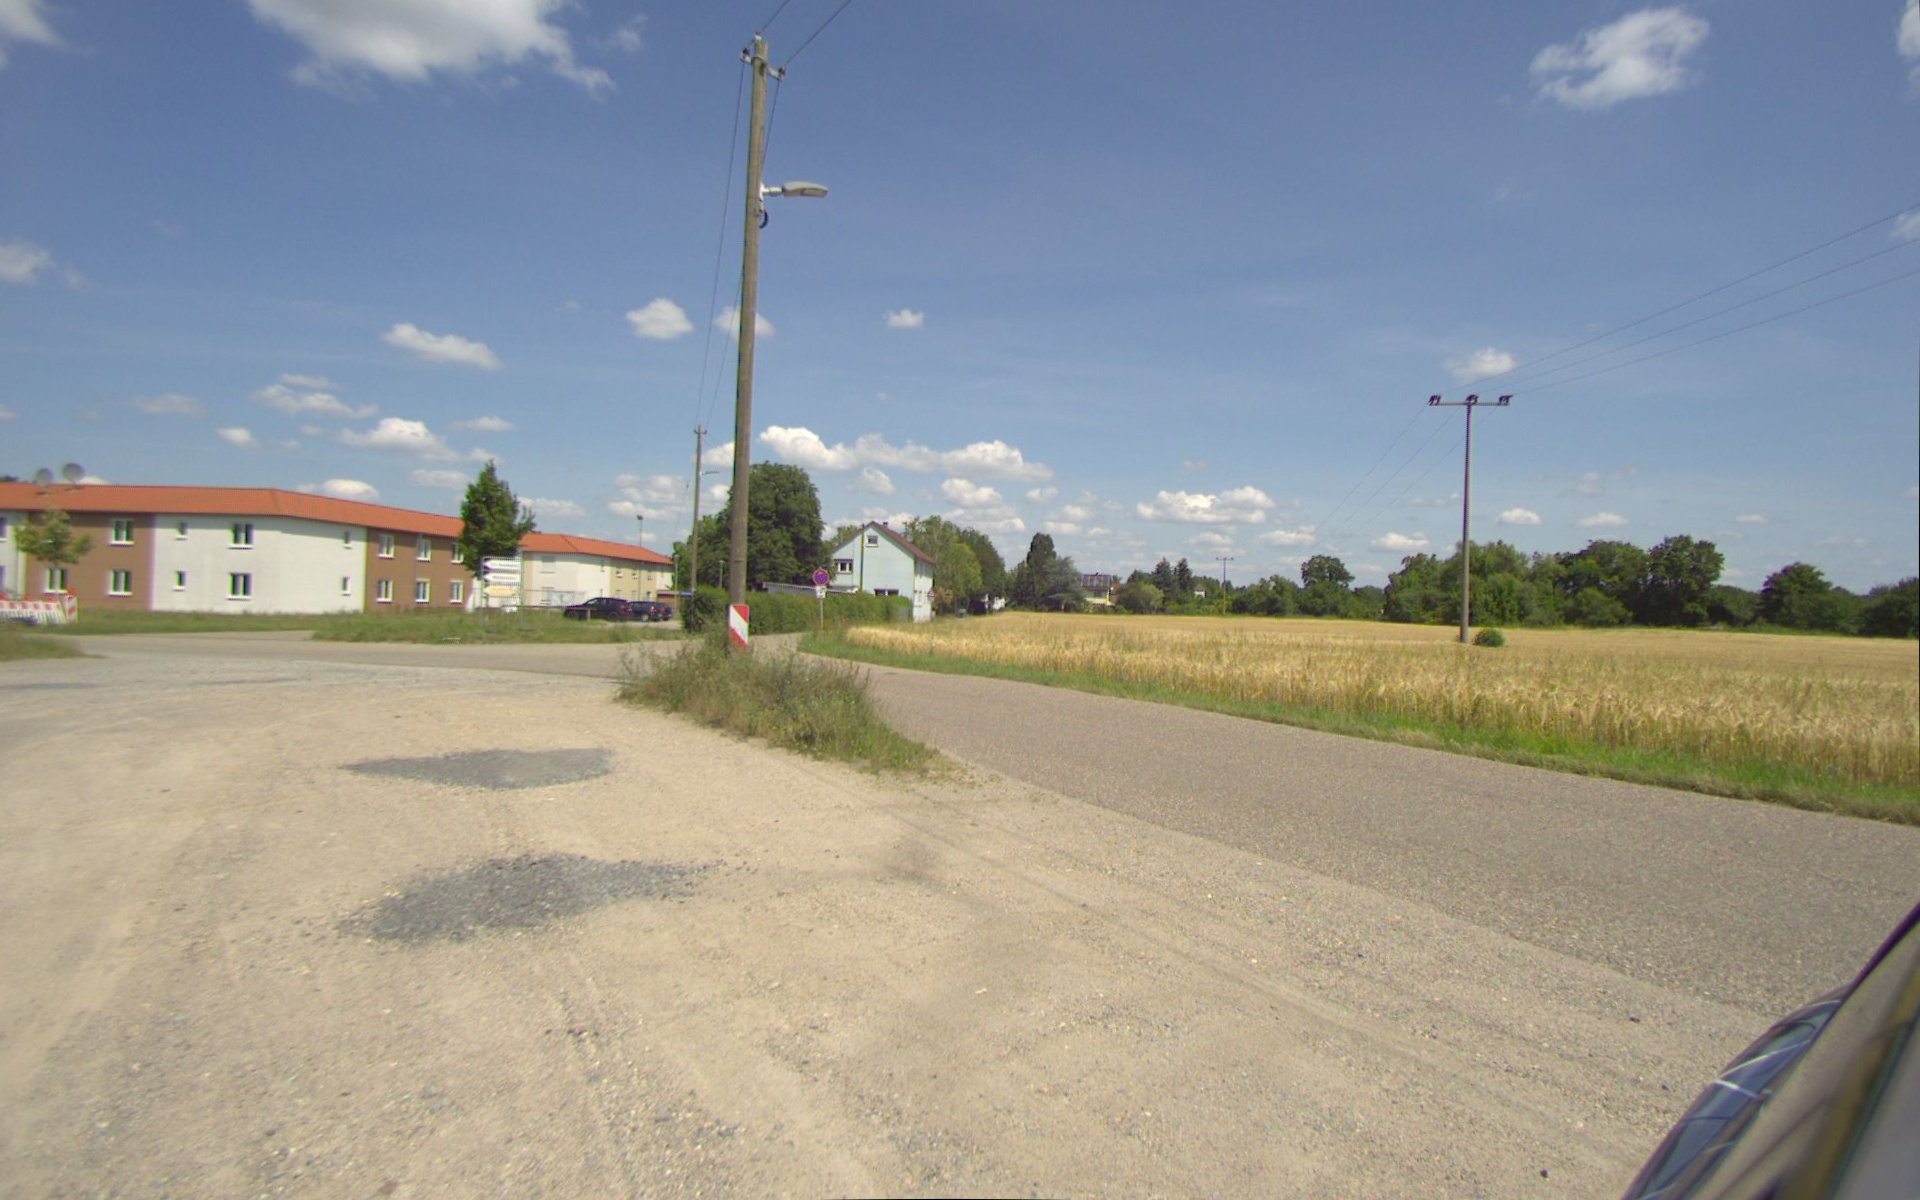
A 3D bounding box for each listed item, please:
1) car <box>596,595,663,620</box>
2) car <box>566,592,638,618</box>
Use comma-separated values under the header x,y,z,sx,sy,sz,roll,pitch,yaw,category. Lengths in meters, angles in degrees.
x,y,z,sx,sy,sz,roll,pitch,yaw,category
-23.407,0.521,71.767,4.074,1.635,1.997,2,-1,4,car
-23.982,0.345,67.877,4.074,1.635,1.997,2,-1,4,car
